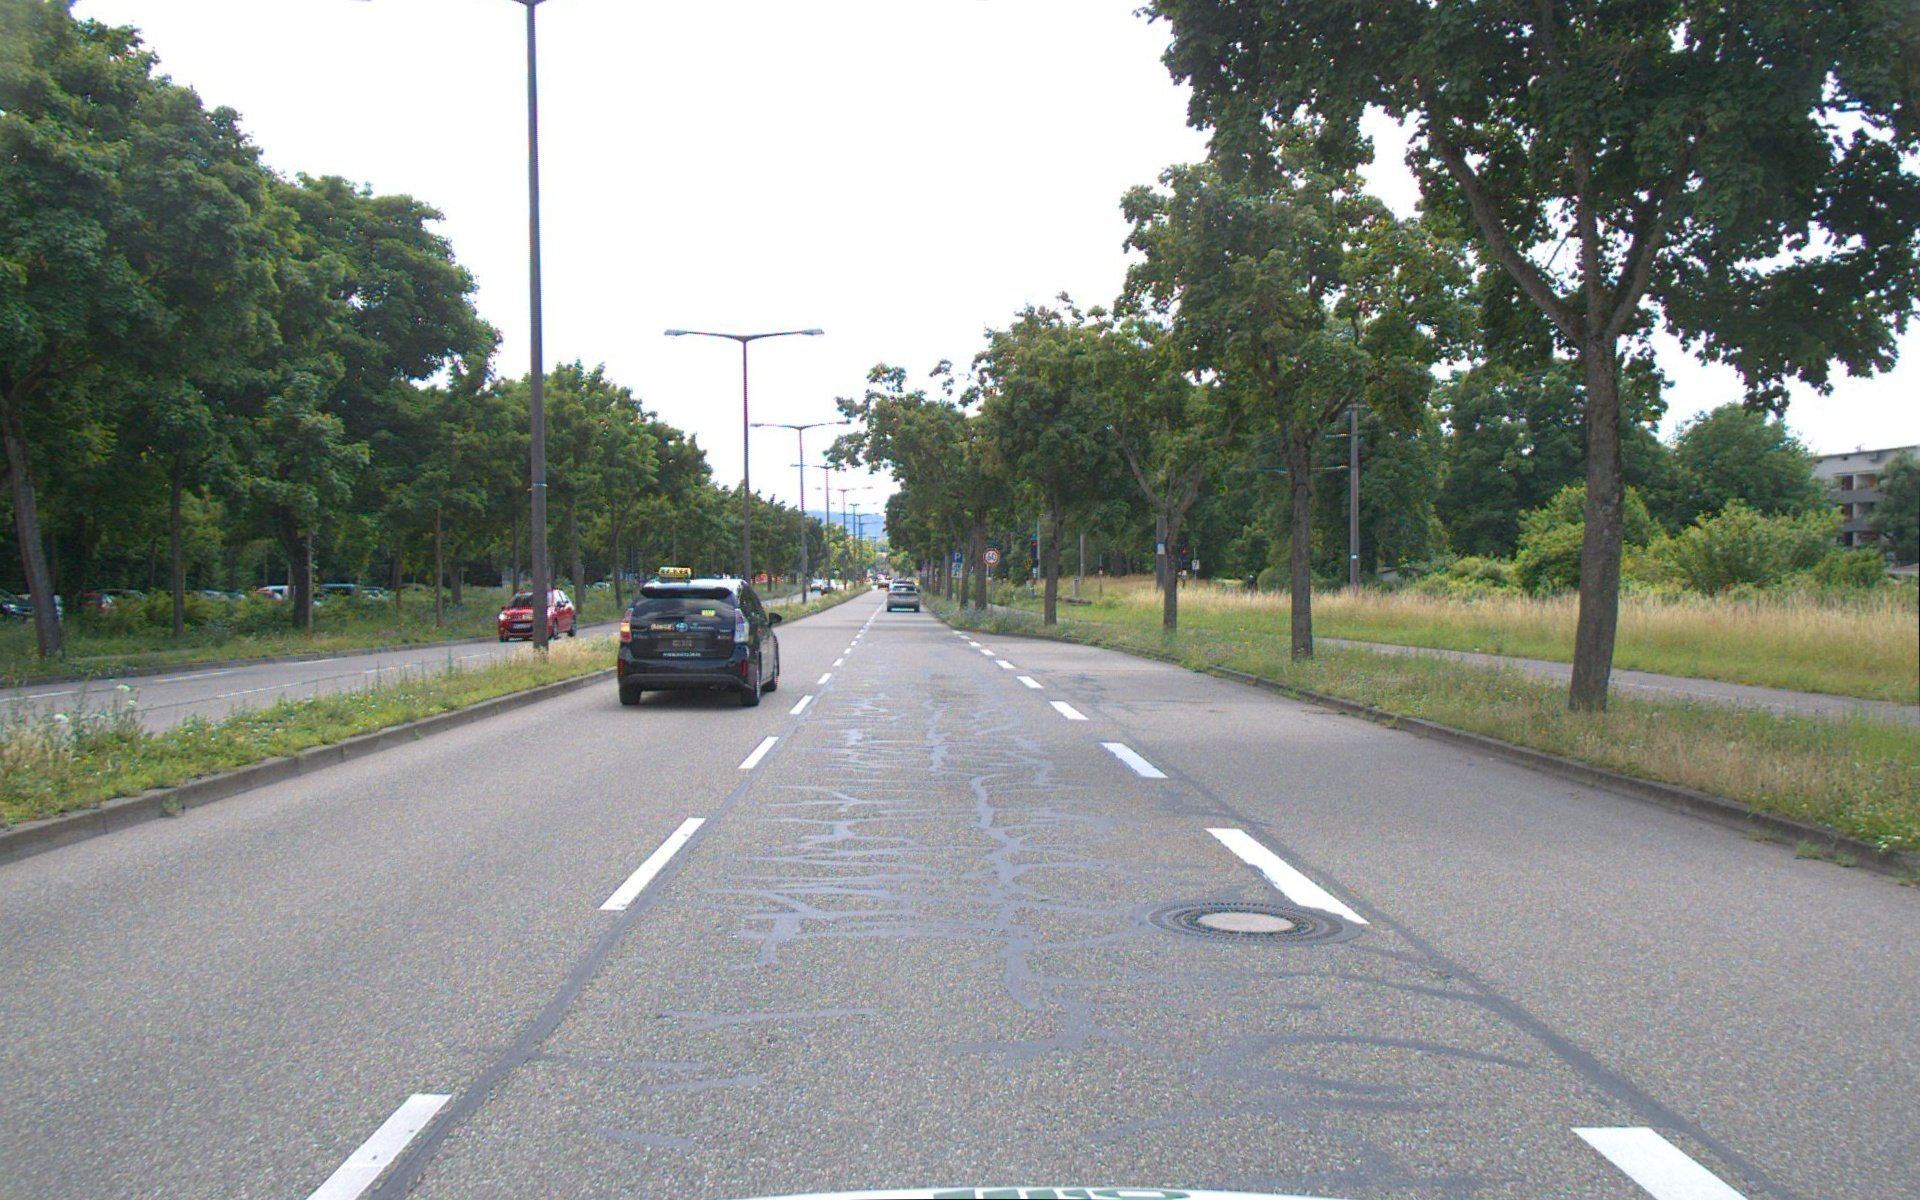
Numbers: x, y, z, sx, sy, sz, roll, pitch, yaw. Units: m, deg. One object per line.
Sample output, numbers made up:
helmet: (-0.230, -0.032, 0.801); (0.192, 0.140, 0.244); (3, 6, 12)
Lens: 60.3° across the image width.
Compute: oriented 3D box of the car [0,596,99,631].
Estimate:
car: (-40.378, 0.591, 73.080); (3.706, 1.412, 1.786); (1, 1, 2)

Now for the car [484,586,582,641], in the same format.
car: (-12.904, 0.372, 50.236); (1.840, 1.534, 3.799); (1, 1, 2)

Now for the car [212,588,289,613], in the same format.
car: (-41.719, 0.029, 97.305); (3.706, 1.412, 1.786); (1, 1, 2)

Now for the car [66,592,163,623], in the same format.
car: (-40.360, 0.352, 79.019); (3.706, 1.412, 1.786); (1, 1, 2)

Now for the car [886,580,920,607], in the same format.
car: (-3.446, -0.425, 99.359); (1.954, 1.534, 3.998); (1, 1, -3)

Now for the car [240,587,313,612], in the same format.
car: (-41.461, -0.016, 100.383); (3.706, 1.412, 1.786); (1, 1, 2)

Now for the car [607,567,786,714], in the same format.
car: (-3.350, 0.451, 21.712); (1.743, 1.713, 4.000); (1, 1, -1)
